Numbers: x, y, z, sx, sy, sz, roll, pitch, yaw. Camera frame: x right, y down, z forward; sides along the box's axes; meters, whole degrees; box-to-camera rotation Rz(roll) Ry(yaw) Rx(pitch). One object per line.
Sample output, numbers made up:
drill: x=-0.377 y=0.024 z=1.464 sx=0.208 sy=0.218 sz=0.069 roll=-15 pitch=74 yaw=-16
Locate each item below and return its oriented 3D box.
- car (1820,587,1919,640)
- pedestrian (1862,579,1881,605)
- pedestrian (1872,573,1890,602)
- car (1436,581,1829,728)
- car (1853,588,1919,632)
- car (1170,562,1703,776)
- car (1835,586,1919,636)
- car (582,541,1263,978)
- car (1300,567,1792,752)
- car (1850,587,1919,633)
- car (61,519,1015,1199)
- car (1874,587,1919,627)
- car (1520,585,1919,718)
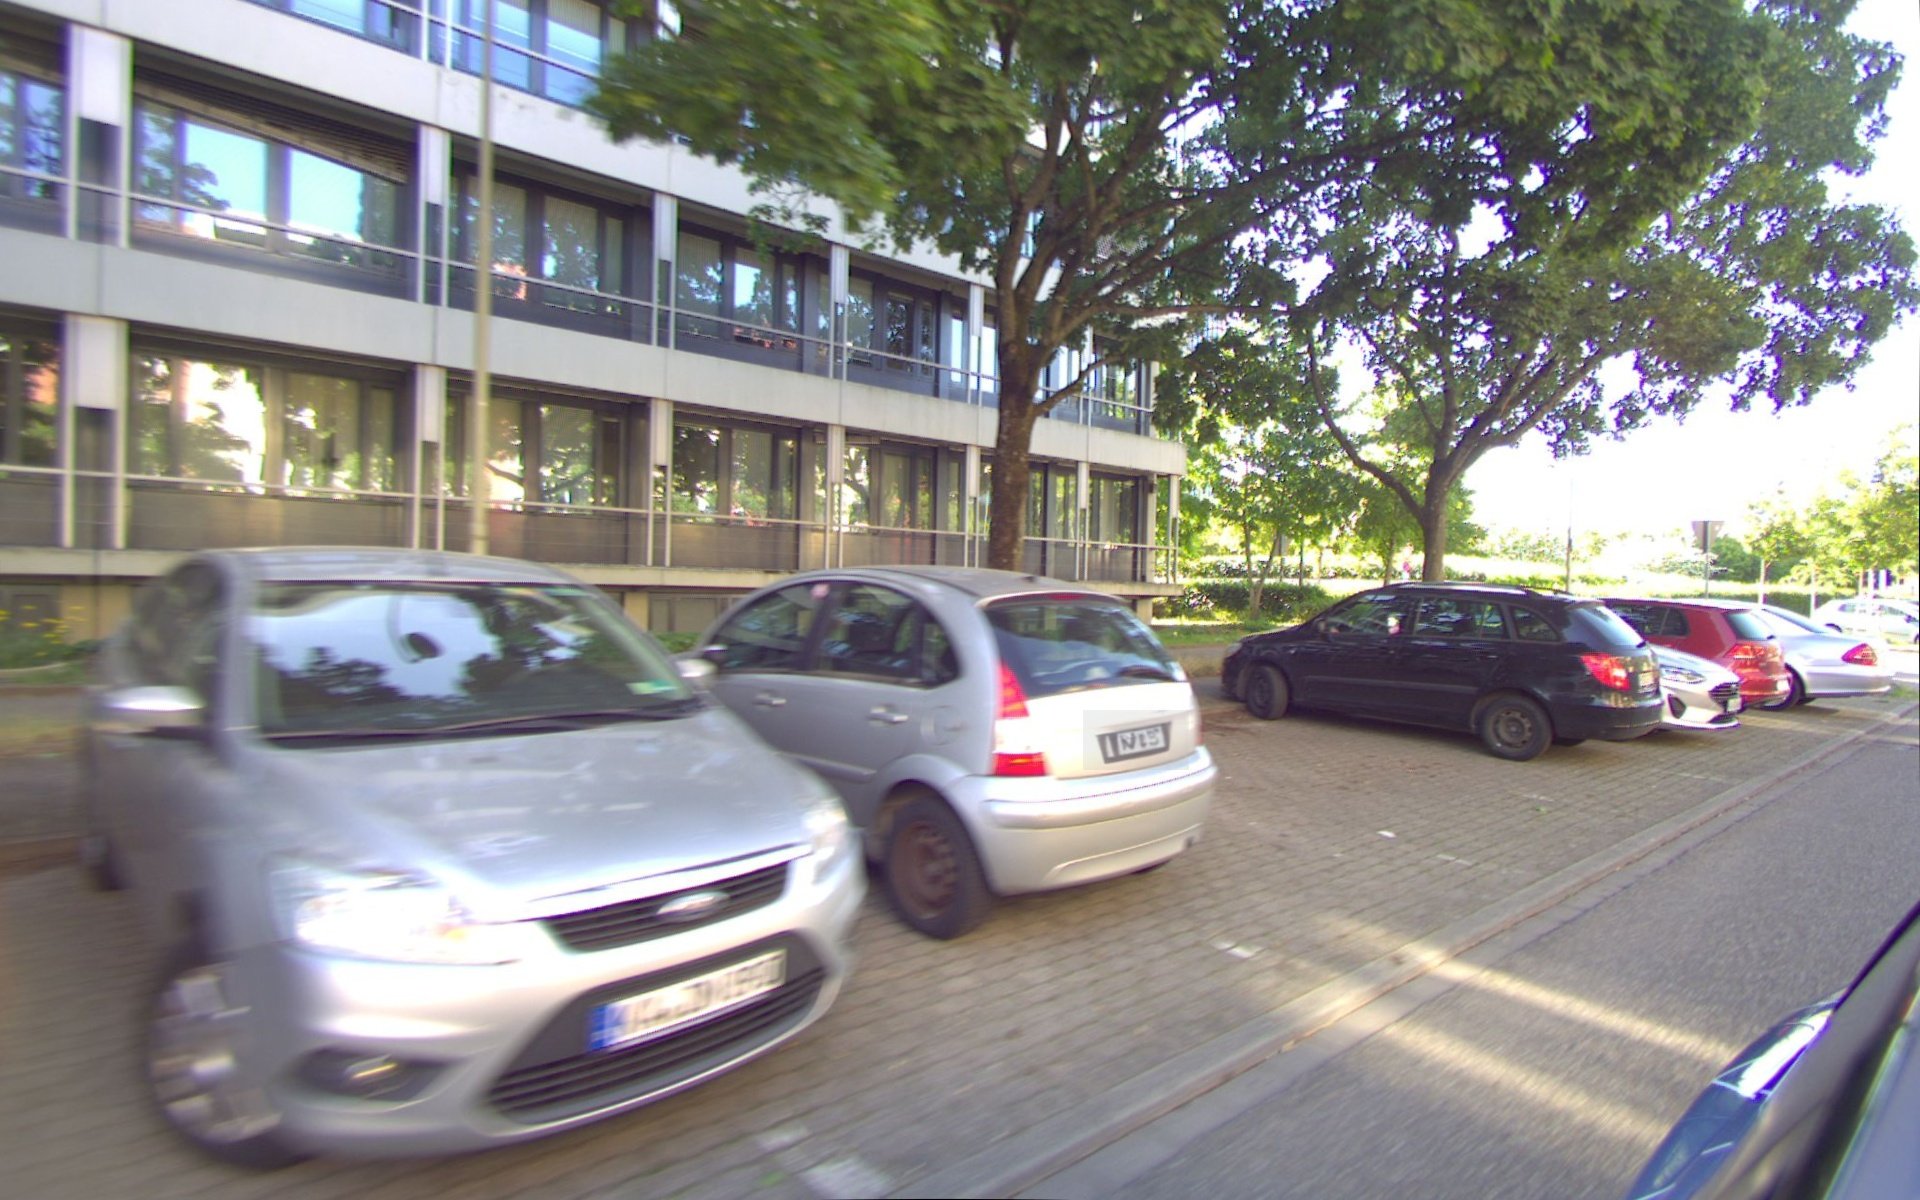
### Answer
car: x=31.069 y=0.466 z=33.253 sx=1.671 sy=1.533 sz=3.959 roll=0 pitch=4 yaw=-39
pedestrian: x=55.622 y=-0.491 z=61.760 sx=0.837 sy=1.607 sz=0.725 roll=1 pitch=1 yaw=-39
pedestrian: x=50.908 y=-0.676 z=55.935 sx=0.920 sy=1.561 sz=0.608 roll=1 pitch=1 yaw=-40
car: x=8.644 y=0.579 z=13.307 sx=1.886 sy=1.464 sz=3.851 roll=1 pitch=3 yaw=-36
car: x=36.897 y=0.458 z=38.116 sx=2.120 sy=1.533 sz=4.562 roll=0 pitch=4 yaw=-39
car: x=4.621 y=0.488 z=10.364 sx=1.890 sy=1.561 sz=4.520 roll=0 pitch=3 yaw=-44
car: x=33.152 y=0.450 z=34.758 sx=4.553 sy=1.533 sz=1.951 roll=6 pitch=5 yaw=44
car: x=-0.474 y=0.499 z=5.543 sx=1.590 sy=1.511 sz=3.747 roll=0 pitch=3 yaw=-44
car: x=6.499 y=0.501 z=11.766 sx=1.886 sy=1.561 sz=4.531 roll=1 pitch=3 yaw=-36
car: x=34.924 y=0.424 z=36.568 sx=1.719 sy=1.533 sz=3.886 roll=0 pitch=4 yaw=-39
car: x=-2.041 y=0.503 z=3.882 sx=1.971 sy=1.511 sz=4.291 roll=0 pitch=3 yaw=-44
car: x=38.868 y=0.394 z=39.938 sx=1.713 sy=1.465 sz=3.819 roll=0 pitch=6 yaw=-38
car: x=10.934 y=0.607 z=14.692 sx=1.716 sy=1.493 sz=4.588 roll=1 pitch=2 yaw=-40
